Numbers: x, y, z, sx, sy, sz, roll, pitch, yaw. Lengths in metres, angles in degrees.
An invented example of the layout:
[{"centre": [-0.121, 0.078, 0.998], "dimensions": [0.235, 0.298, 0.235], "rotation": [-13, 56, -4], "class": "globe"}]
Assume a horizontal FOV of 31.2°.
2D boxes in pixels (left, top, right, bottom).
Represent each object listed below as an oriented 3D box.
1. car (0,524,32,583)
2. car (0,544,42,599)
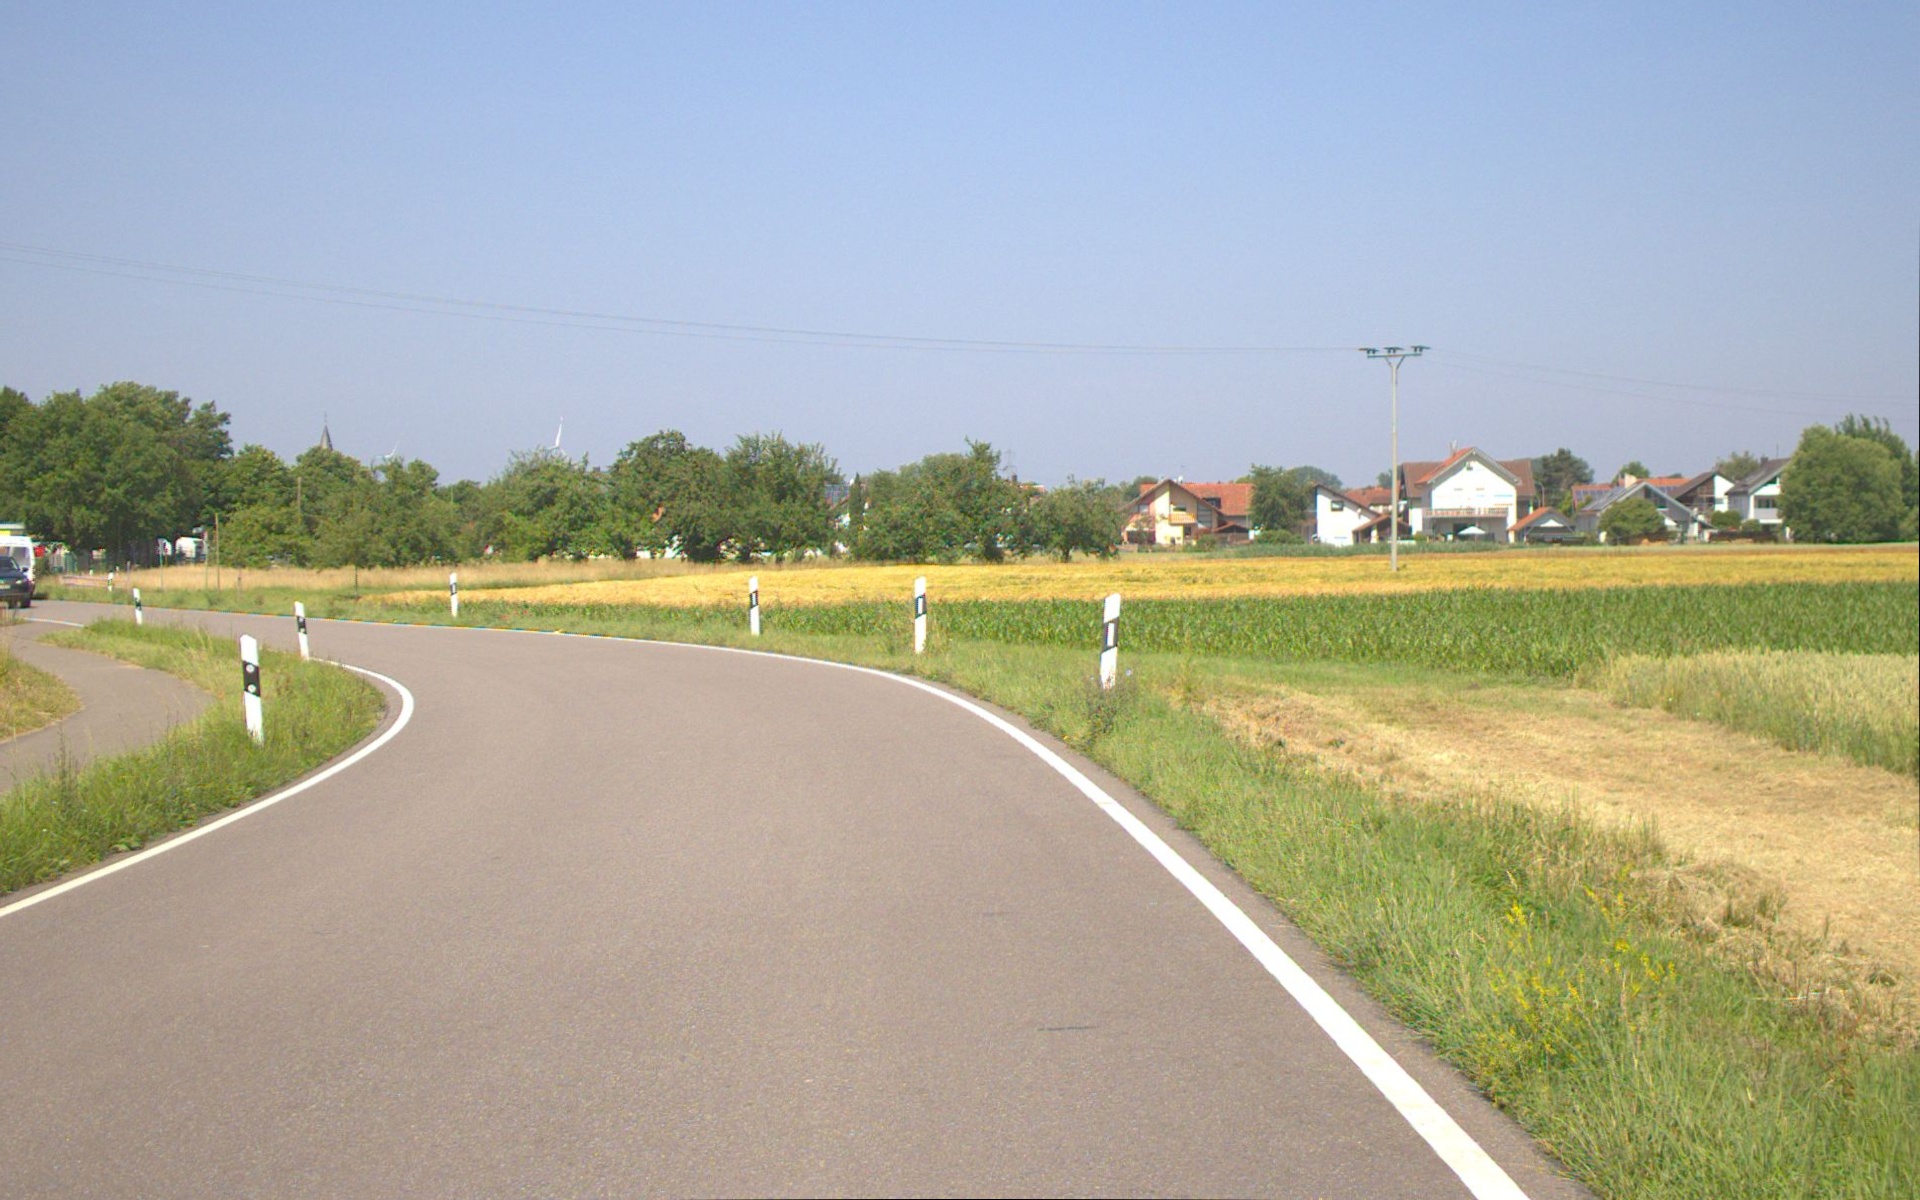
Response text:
[{"centre": [-37.563, -1.815, 134.292], "dimensions": [1.993, 2.258, 4.727], "rotation": [-1, 1, -22], "class": "car"}, {"centre": [-30.747, -0.908, 110.226], "dimensions": [1.886, 1.709, 4.015], "rotation": [-2, 2, -23], "class": "car"}]
